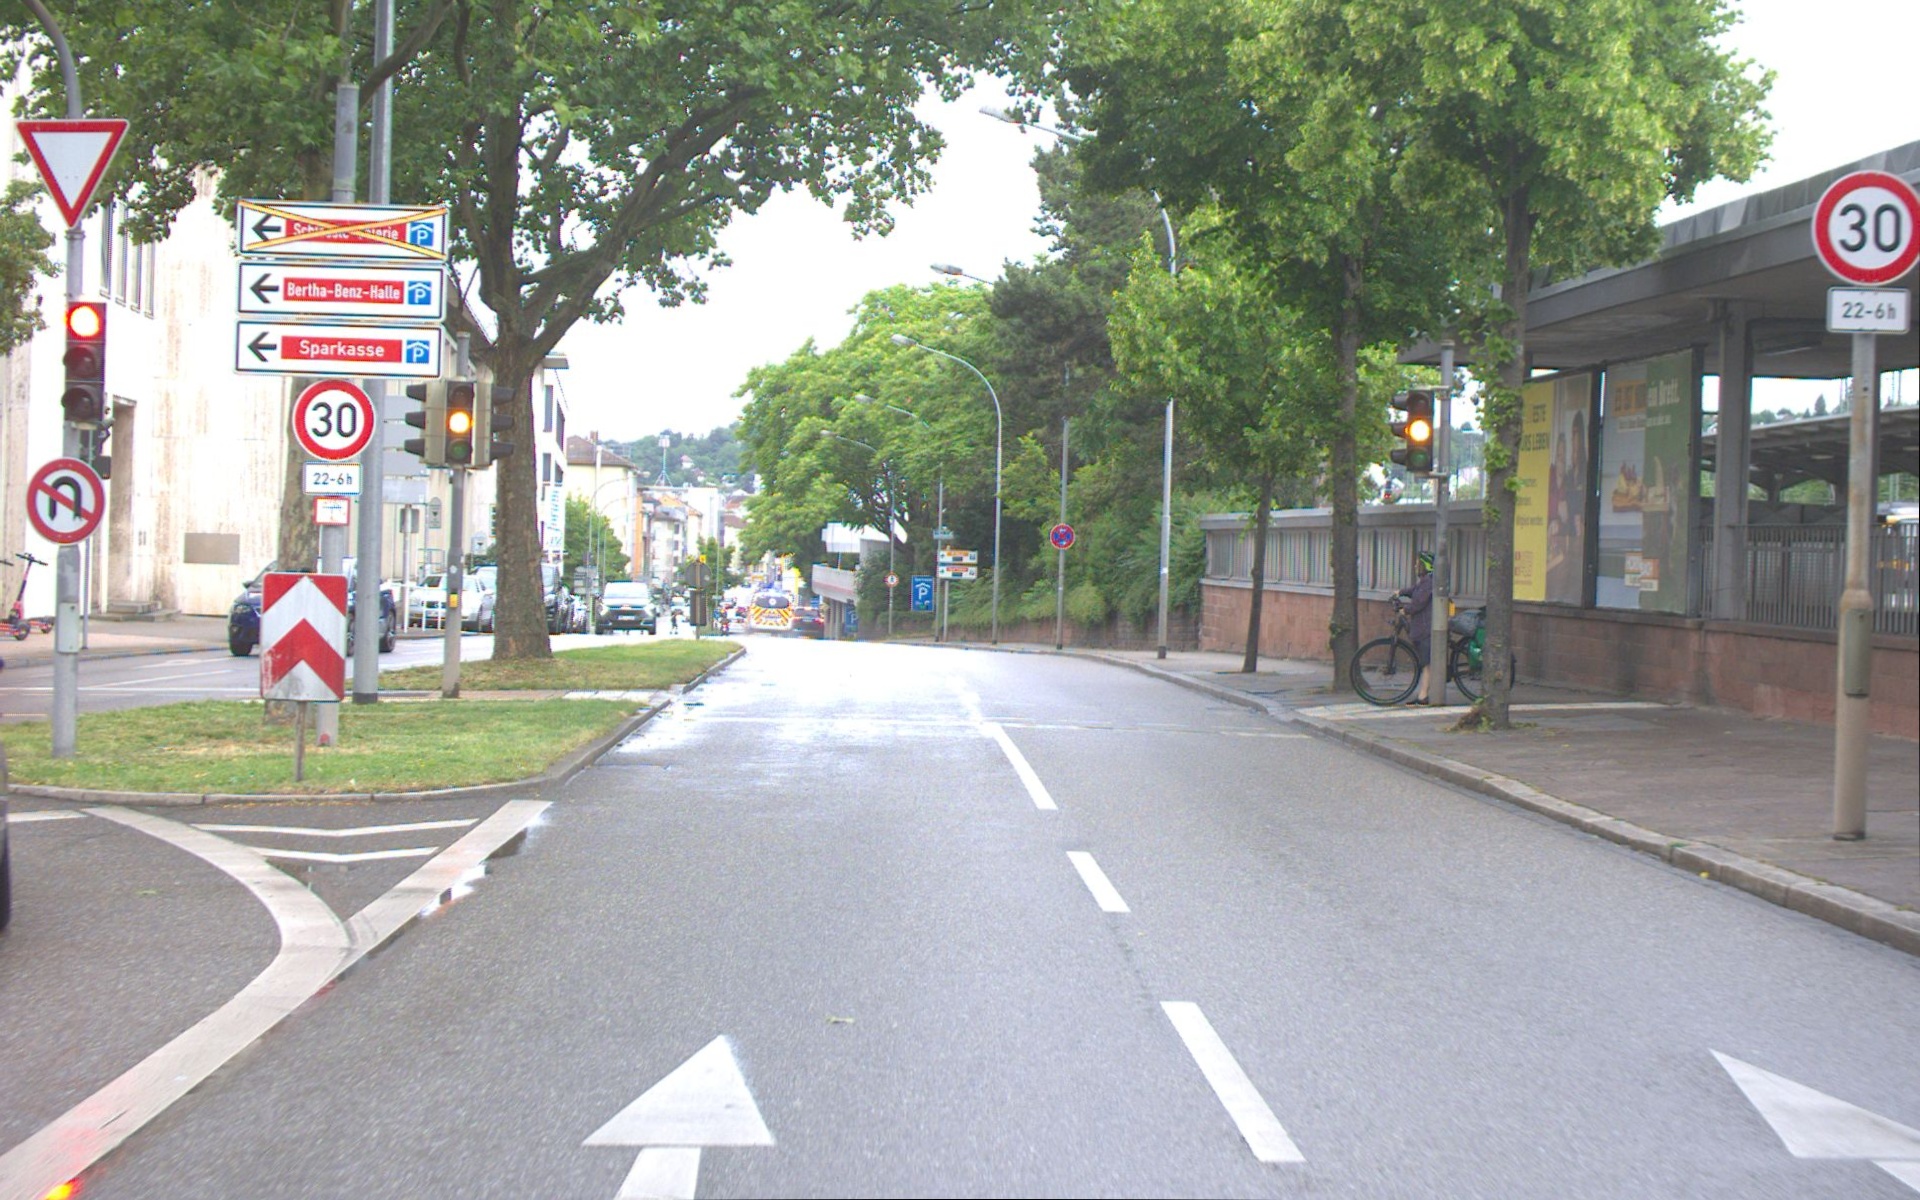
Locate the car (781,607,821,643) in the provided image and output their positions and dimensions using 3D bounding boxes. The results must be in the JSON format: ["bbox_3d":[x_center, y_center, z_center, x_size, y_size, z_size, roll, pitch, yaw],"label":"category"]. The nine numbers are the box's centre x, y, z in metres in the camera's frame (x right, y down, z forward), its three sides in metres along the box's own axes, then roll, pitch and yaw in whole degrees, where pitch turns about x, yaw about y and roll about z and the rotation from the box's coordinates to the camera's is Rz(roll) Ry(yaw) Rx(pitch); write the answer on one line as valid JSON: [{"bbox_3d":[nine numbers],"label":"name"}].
[{"bbox_3d":[-8.759,1.363,189.293,2.091,1.904,4.100,0,1,-4],"label":"car"}]

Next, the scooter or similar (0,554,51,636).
[{"bbox_3d":[-14.115,-0.076,50.399,0.608,1.188,1.525,1,1,32],"label":"scooter or similar"}]

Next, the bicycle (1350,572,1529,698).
[{"bbox_3d":[4.850,0.350,34.832,1.722,1.244,0.485,-1,1,30],"label":"bicycle"}]

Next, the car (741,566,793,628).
[{"bbox_3d":[-8.542,-0.150,151.924,2.264,2.647,4.001,1,1,-4],"label":"car"}]

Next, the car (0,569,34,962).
[{"bbox_3d":[-4.884,0.571,14.223,1.815,1.404,4.415,0,1,-18],"label":"car"}]

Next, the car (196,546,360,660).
[{"bbox_3d":[-9.900,0.013,50.165,1.841,1.503,4.104,3,0,-5],"label":"car"}]

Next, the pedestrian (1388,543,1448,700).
[{"bbox_3d":[4.600,0.214,34.533,0.457,1.563,0.392,-1,1,30],"label":"pedestrian"}]

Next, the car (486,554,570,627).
[{"bbox_3d":[-12.082,-0.251,96.319,1.948,1.937,4.996,2,0,-3],"label":"car"}]

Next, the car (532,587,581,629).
[{"bbox_3d":[-15.529,0.318,132.393,1.747,1.430,4.487,4,-1,-6],"label":"car"}]

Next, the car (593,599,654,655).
[{"bbox_3d":[-10.460,0.829,107.150,1.821,1.655,4.338,1,0,-5],"label":"car"}]

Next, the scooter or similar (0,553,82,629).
[{"bbox_3d":[-14.327,-0.141,53.034,0.608,1.160,1.525,1,1,32],"label":"scooter or similar"}]

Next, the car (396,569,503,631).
[{"bbox_3d":[-11.350,0.000,76.658,1.691,1.293,4.093,2,0,0],"label":"car"}]

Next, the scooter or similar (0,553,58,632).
[{"bbox_3d":[-14.361,-0.117,51.709,0.608,1.188,1.525,1,1,32],"label":"scooter or similar"}]
